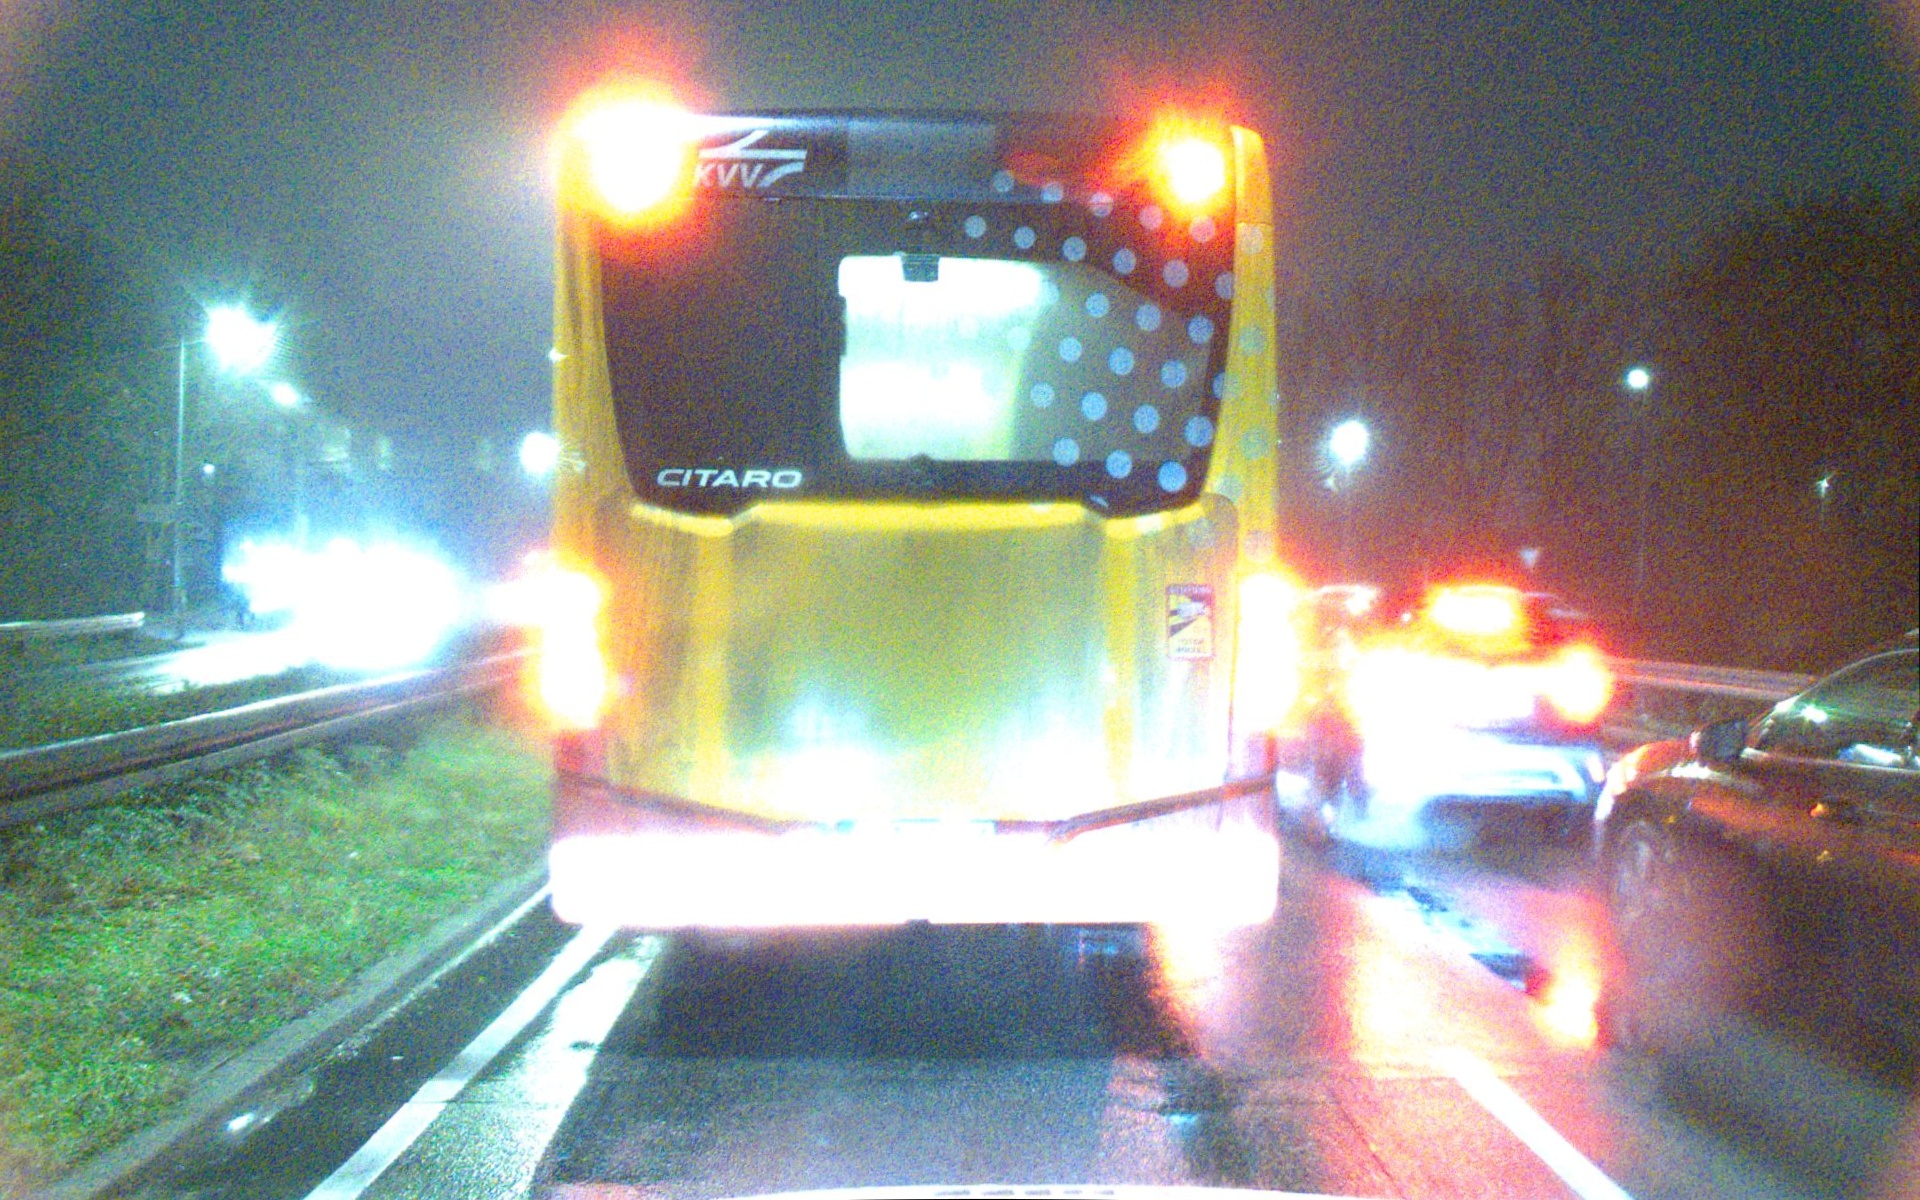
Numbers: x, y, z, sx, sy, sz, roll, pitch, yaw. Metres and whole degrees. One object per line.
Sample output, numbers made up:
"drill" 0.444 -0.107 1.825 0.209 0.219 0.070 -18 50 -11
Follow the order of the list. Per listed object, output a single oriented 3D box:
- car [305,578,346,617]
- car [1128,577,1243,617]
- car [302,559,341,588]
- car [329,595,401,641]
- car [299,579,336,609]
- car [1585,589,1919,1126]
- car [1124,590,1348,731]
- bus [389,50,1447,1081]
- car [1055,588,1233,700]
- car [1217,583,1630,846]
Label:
"car" -29.821 -0.107 77.736 1.733 1.769 3.974 1 0 -22
"car" 9.351 -0.134 68.826 4.399 1.545 1.854 1 2 -9
"car" -32.998 -1.343 85.437 1.605 1.393 3.693 1 0 -25
"car" -20.369 0.591 56.742 1.961 1.534 4.819 0 0 -16
"car" -36.416 -0.356 93.697 1.742 1.659 4.219 0 1 -24
"car" 3.572 0.754 4.902 1.639 1.532 4.558 1 0 -1
"car" 2.876 0.587 18.029 1.652 1.353 3.959 0 0 -2
"bus" -0.297 -0.235 9.829 3.219 3.103 9.540 0 2 -2
"car" 2.560 0.592 23.950 1.953 1.466 3.998 1 0 -3
"car" 3.080 0.691 11.839 1.644 1.548 3.957 1 0 -3
